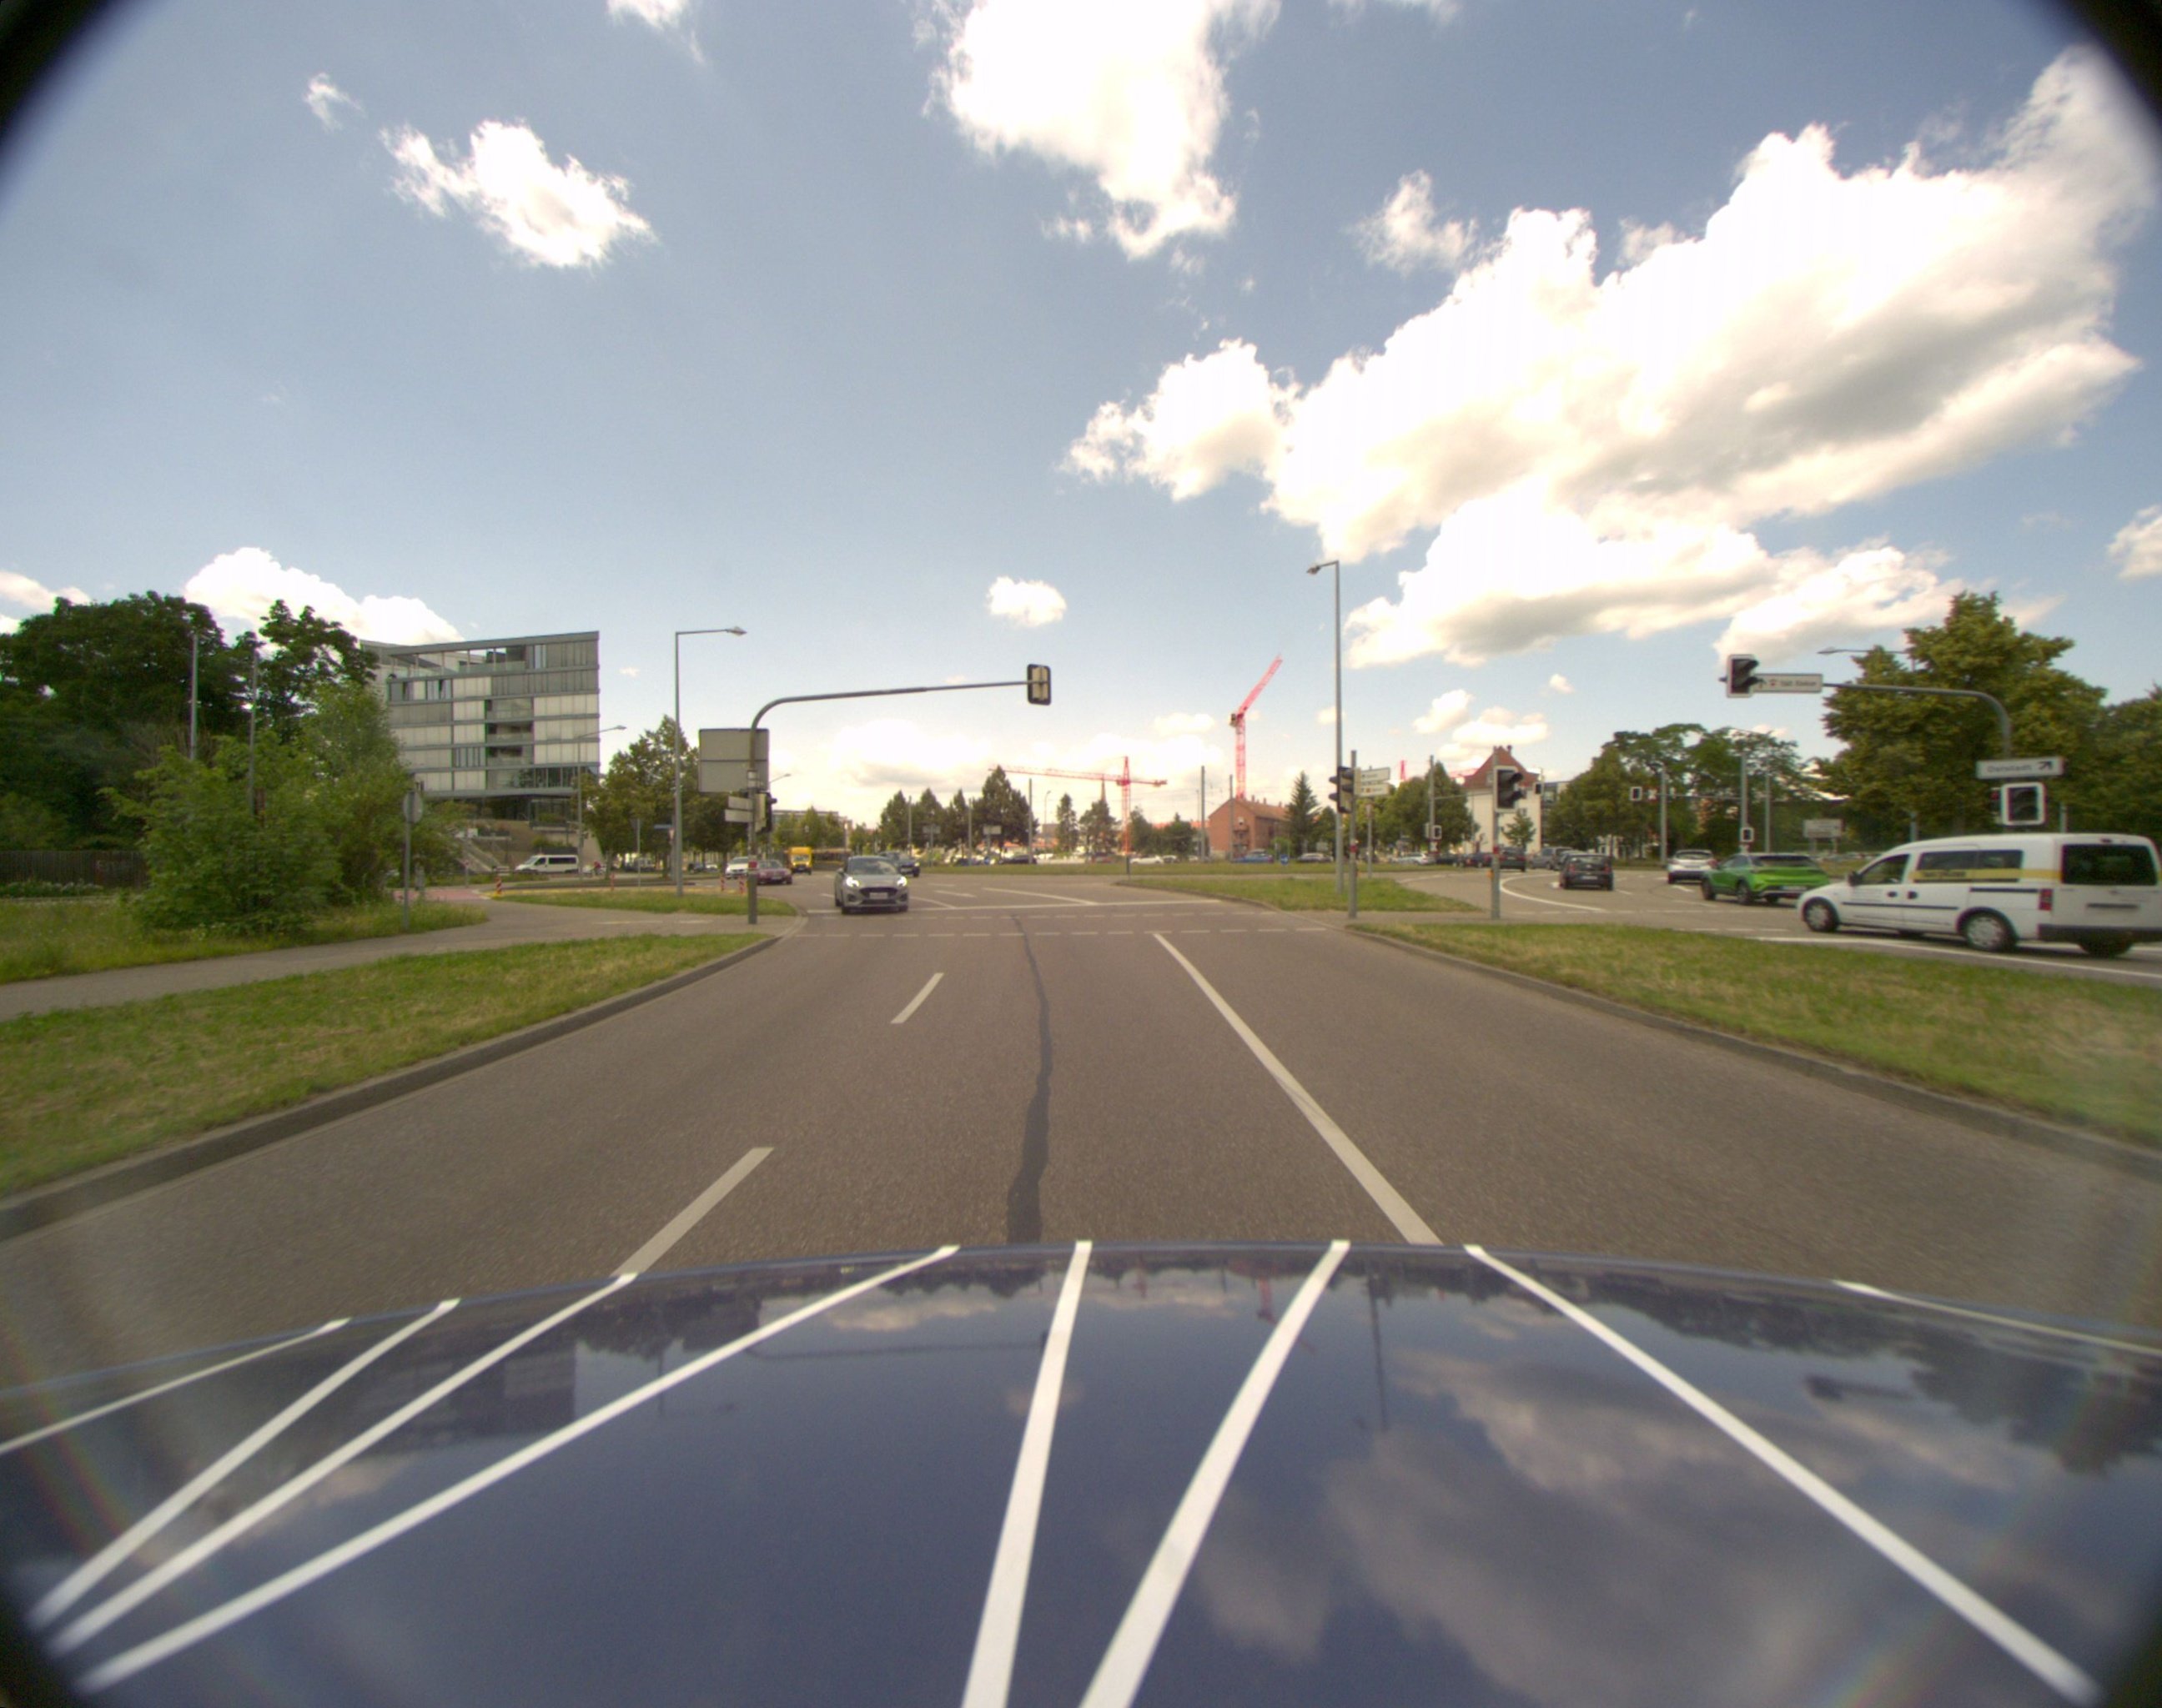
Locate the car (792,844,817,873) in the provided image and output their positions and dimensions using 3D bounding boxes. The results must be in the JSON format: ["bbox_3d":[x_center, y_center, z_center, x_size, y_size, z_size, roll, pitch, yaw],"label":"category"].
[{"bbox_3d":[-28.512,0.365,78.189,2.288,2.837,7.242,-1,1,-20],"label":"car"}]

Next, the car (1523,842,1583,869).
[{"bbox_3d":[37.039,0.102,59.780,1.998,2.002,4.789,-1,0,5],"label":"car"}]

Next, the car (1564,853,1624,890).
[{"bbox_3d":[20.577,0.664,30.601,1.838,1.303,4.798,2,0,33],"label":"car"}]

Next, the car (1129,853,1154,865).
[{"bbox_3d":[10.170,0.857,128.666,2.090,1.841,5.175,-1,0,-21],"label":"car"}]

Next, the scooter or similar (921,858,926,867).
[{"bbox_3d":[-21.917,1.172,105.890,0.419,1.295,1.343,-1,3,-20],"label":"scooter or similar"}]

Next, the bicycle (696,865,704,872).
[{"bbox_3d":[-42.677,1.650,85.079,1.469,0.821,0.359,-1,0,44],"label":"bicycle"}]

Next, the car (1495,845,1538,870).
[{"bbox_3d":[28.995,0.182,50.546,1.908,1.583,4.601,0,1,37],"label":"car"}]

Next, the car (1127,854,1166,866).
[{"bbox_3d":[7.592,0.641,87.924,4.304,1.321,2.002,-1,0,10],"label":"car"}]

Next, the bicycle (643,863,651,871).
[{"bbox_3d":[-59.421,1.736,103.998,0.517,1.082,1.744,0,-1,-44],"label":"bicycle"}]

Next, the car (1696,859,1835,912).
[{"bbox_3d":[19.979,0.848,22.402,1.617,1.340,4.177,1,0,21],"label":"car"}]

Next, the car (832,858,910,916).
[{"bbox_3d":[-6.201,0.883,22.153,1.677,1.462,4.084,-1,0,-23],"label":"car"}]

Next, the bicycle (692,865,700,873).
[{"bbox_3d":[-43.129,1.665,85.156,1.469,0.821,0.359,-1,0,44],"label":"bicycle"}]

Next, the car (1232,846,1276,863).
[{"bbox_3d":[19.182,0.103,84.443,4.396,1.788,1.759,-1,0,31],"label":"car"}]

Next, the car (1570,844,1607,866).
[{"bbox_3d":[34.126,0.085,51.011,1.906,1.415,4.200,0,0,36],"label":"car"}]

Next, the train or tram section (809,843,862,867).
[{"bbox_3d":[-38.849,0.223,119.738,2.857,3.718,13.439,-1,0,-41],"label":"train or tram section"}]

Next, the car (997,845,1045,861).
[{"bbox_3d":[-6.759,-0.104,85.489,5.075,1.665,1.997,-1,0,-19],"label":"car"}]

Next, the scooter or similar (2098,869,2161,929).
[{"bbox_3d":[21.630,0.897,15.257,0.541,1.159,1.441,-1,0,5],"label":"scooter or similar"}]

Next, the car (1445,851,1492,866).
[{"bbox_3d":[35.254,0.380,69.268,1.803,1.332,3.976,1,0,-9],"label":"car"}]

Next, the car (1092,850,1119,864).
[{"bbox_3d":[3.976,0.504,125.289,2.396,2.184,6.828,-1,0,-17],"label":"car"}]

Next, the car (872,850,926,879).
[{"bbox_3d":[-11.215,0.596,46.683,1.778,1.590,4.116,-3,2,-35],"label":"car"}]

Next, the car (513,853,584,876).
[{"bbox_3d":[-51.634,0.975,73.765,2.143,2.135,5.161,-1,0,30],"label":"car"}]

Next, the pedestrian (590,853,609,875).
[{"bbox_3d":[-46.954,0.987,74.102,0.753,2.003,1.233,-3,3,22],"label":"pedestrian"}]

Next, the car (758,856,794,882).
[{"bbox_3d":[-16.078,0.771,39.979,1.677,1.254,4.084,-1,0,-23],"label":"car"}]

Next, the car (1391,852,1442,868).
[{"bbox_3d":[33.607,0.574,76.234,2.126,1.512,4.500,-1,0,-20],"label":"car"}]

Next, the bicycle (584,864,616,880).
[{"bbox_3d":[-46.919,1.746,74.145,0.810,1.238,2.412,-3,6,25],"label":"bicycle"}]

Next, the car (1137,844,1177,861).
[{"bbox_3d":[9.538,-0.172,95.361,4.724,2.002,1.999,-1,0,-6],"label":"car"}]

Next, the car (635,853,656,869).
[{"bbox_3d":[-70.342,1.146,122.769,2.166,2.380,6.261,-3,2,-36],"label":"car"}]

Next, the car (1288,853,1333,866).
[{"bbox_3d":[25.850,0.624,85.624,4.478,1.315,1.958,-1,0,40],"label":"car"}]

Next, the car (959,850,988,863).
[{"bbox_3d":[-15.275,0.379,107.838,1.853,1.780,4.712,-1,1,-42],"label":"car"}]

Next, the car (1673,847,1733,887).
[{"bbox_3d":[28.042,0.521,34.318,1.994,1.676,4.798,0,0,39],"label":"car"}]

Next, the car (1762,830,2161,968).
[{"bbox_3d":[14.000,0.585,12.343,1.842,1.789,4.789,1,0,5],"label":"car"}]

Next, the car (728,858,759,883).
[{"bbox_3d":[-24.010,1.153,54.142,1.676,1.589,4.120,-3,1,-20],"label":"car"}]
